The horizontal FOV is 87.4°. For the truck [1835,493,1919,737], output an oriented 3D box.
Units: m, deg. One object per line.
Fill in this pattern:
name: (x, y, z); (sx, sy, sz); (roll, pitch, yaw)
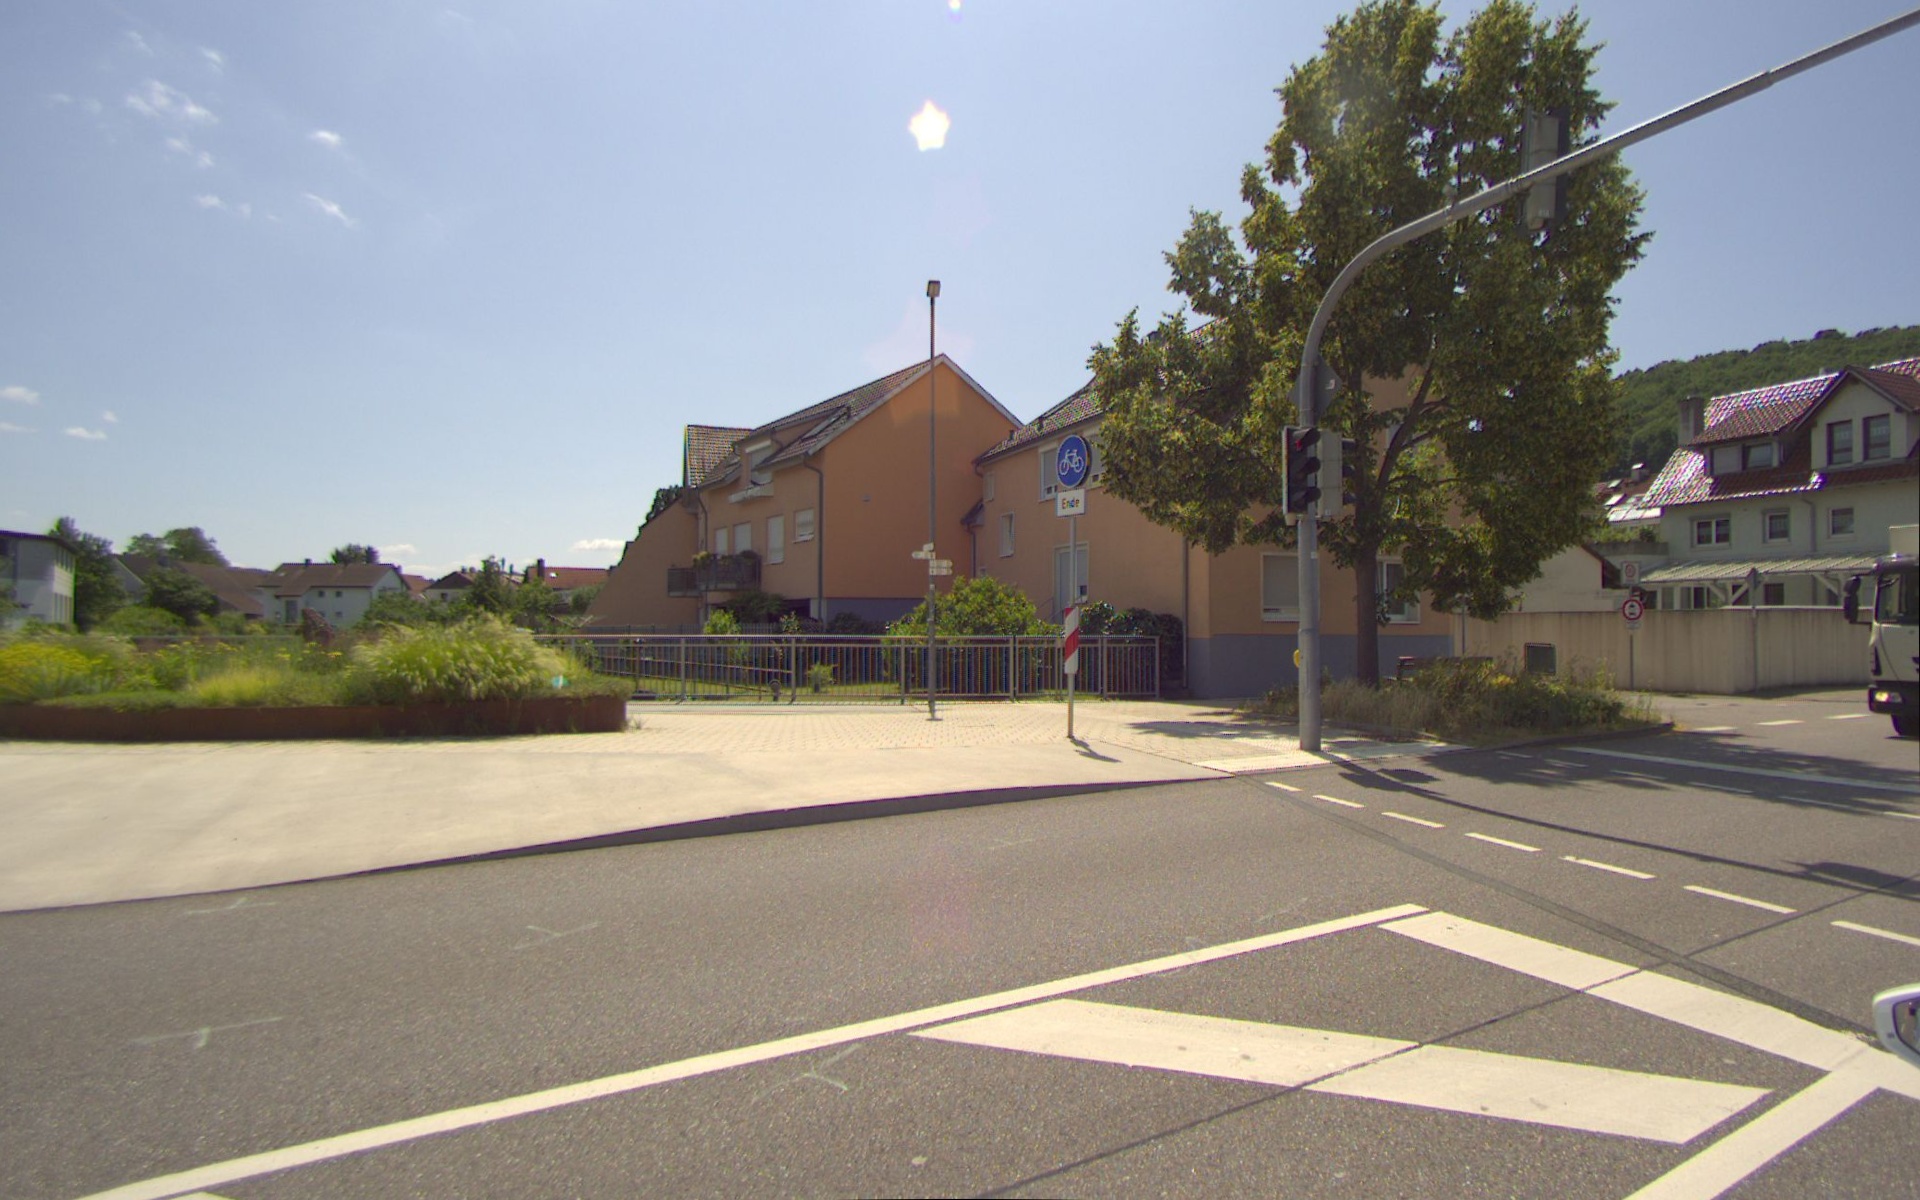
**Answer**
truck: (15.688, 0.268, 14.742); (5.970, 3.277, 2.490); (2, -3, -31)
